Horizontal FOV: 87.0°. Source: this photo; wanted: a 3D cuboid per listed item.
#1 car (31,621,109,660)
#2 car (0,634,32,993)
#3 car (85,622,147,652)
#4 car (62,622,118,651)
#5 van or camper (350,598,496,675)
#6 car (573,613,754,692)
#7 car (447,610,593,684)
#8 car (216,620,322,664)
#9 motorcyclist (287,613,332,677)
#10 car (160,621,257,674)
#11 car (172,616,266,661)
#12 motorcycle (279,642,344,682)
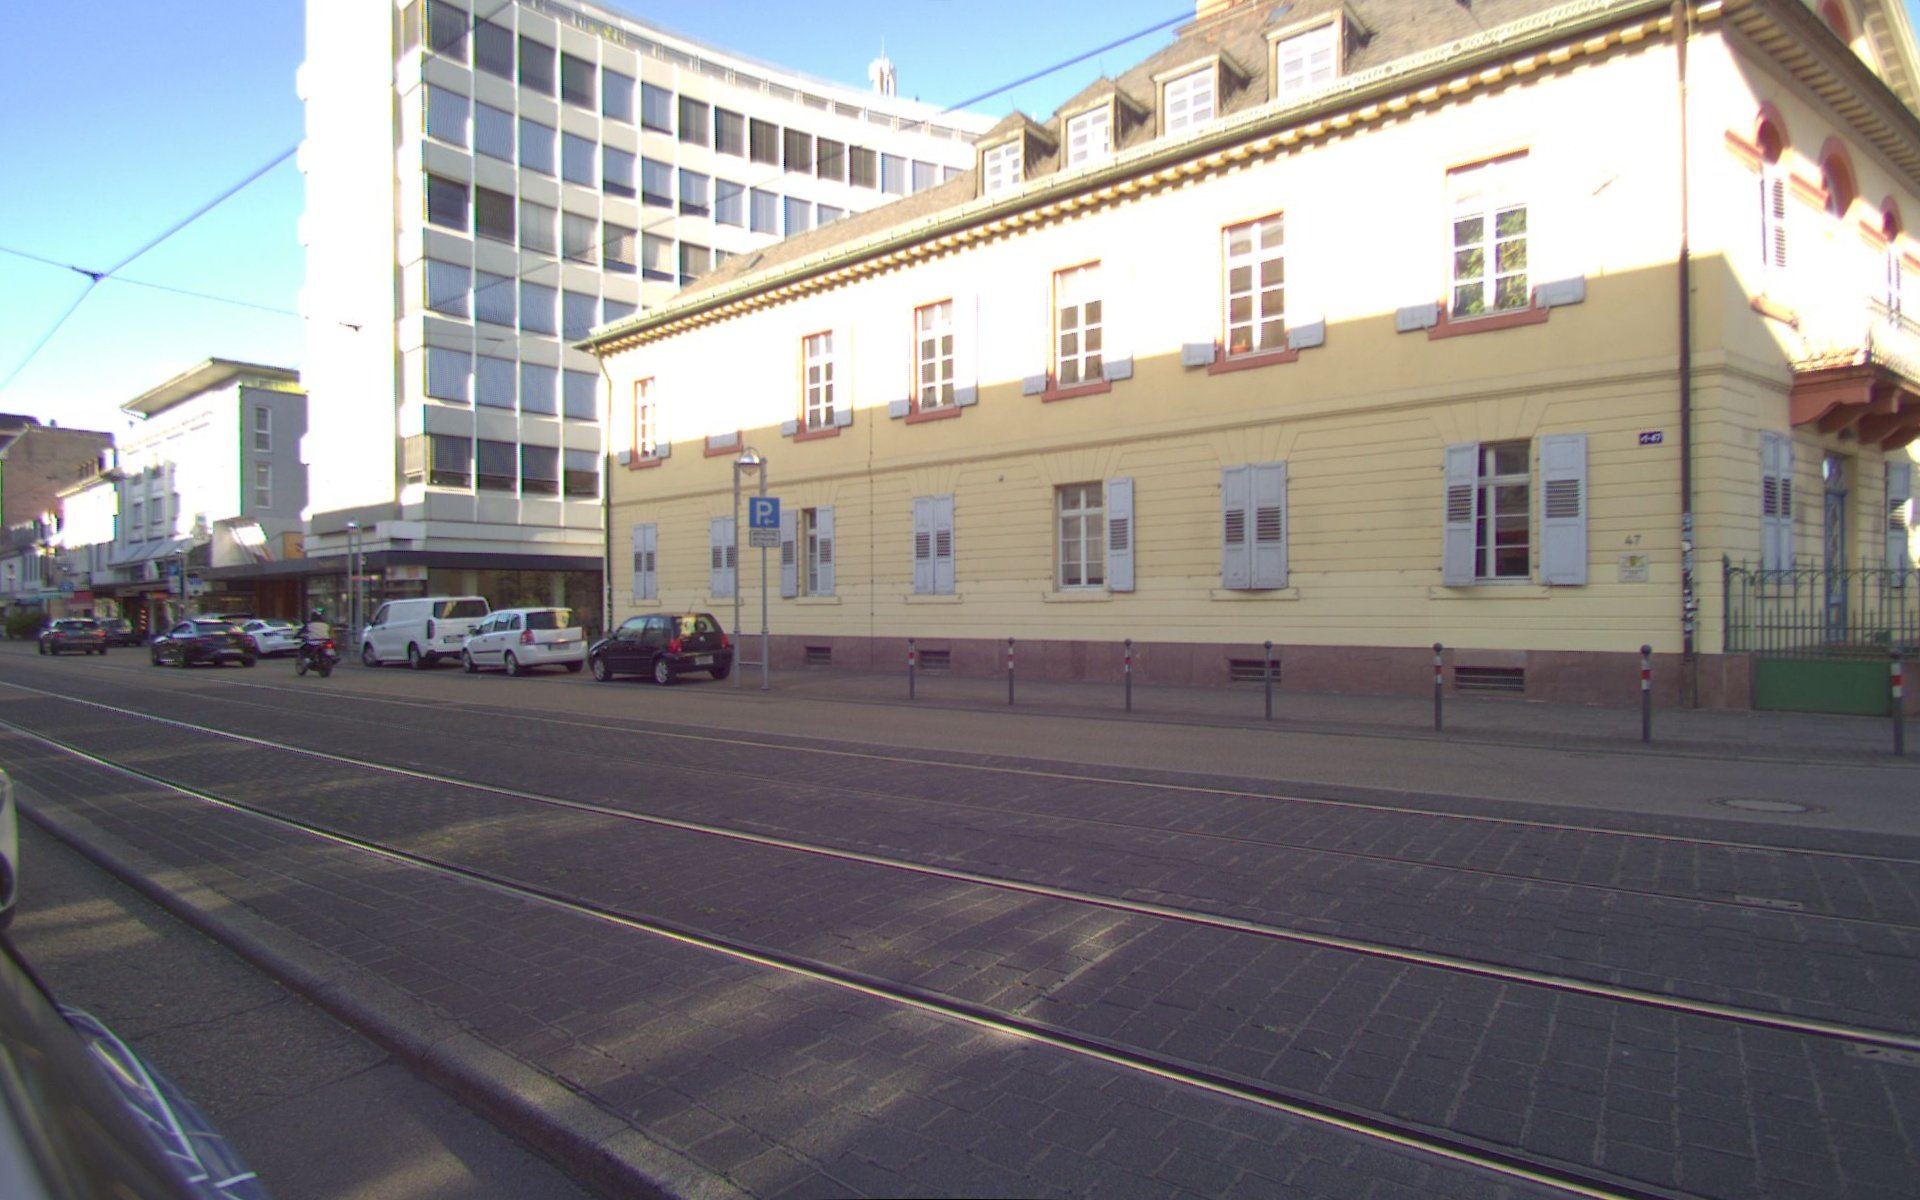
[{"bbox_3d":[-36.443,1.622,41.428,3.856,1.521,1.759,-1,-2,39],"label":"car"},{"bbox_3d":[-6.273,0.880,5.027,4.771,1.450,1.845,-1,-2,40],"label":"car"},{"bbox_3d":[-43.591,1.871,52.239,3.593,1.427,1.764,-1,0,38],"label":"car"},{"bbox_3d":[-48.326,1.999,56.191,3.830,1.531,1.764,-1,0,40],"label":"car"},{"bbox_3d":[-15.455,0.992,29.020,4.792,1.988,1.936,-1,1,39],"label":"van or camper"},{"bbox_3d":[-6.349,1.036,21.490,3.958,1.450,1.759,-1,1,40],"label":"car"},{"bbox_3d":[-11.087,1.104,25.364,4.175,1.632,1.758,-1,1,42],"label":"car"},{"bbox_3d":[-25.647,1.514,37.533,4.285,1.463,1.909,-1,1,36],"label":"car"},{"bbox_3d":[-16.352,1.112,25.430,0.882,1.570,0.647,-1,0,34],"label":"motorcyclist"},{"bbox_3d":[-23.433,1.437,31.490,4.672,1.521,1.756,-2,-2,45],"label":"car"},{"bbox_3d":[-30.162,1.508,41.163,4.275,1.654,1.908,-1,1,37],"label":"car"},{"bbox_3d":[-16.280,1.536,25.392,2.151,0.933,0.594,-1,0,35],"label":"motorcycle"}]
